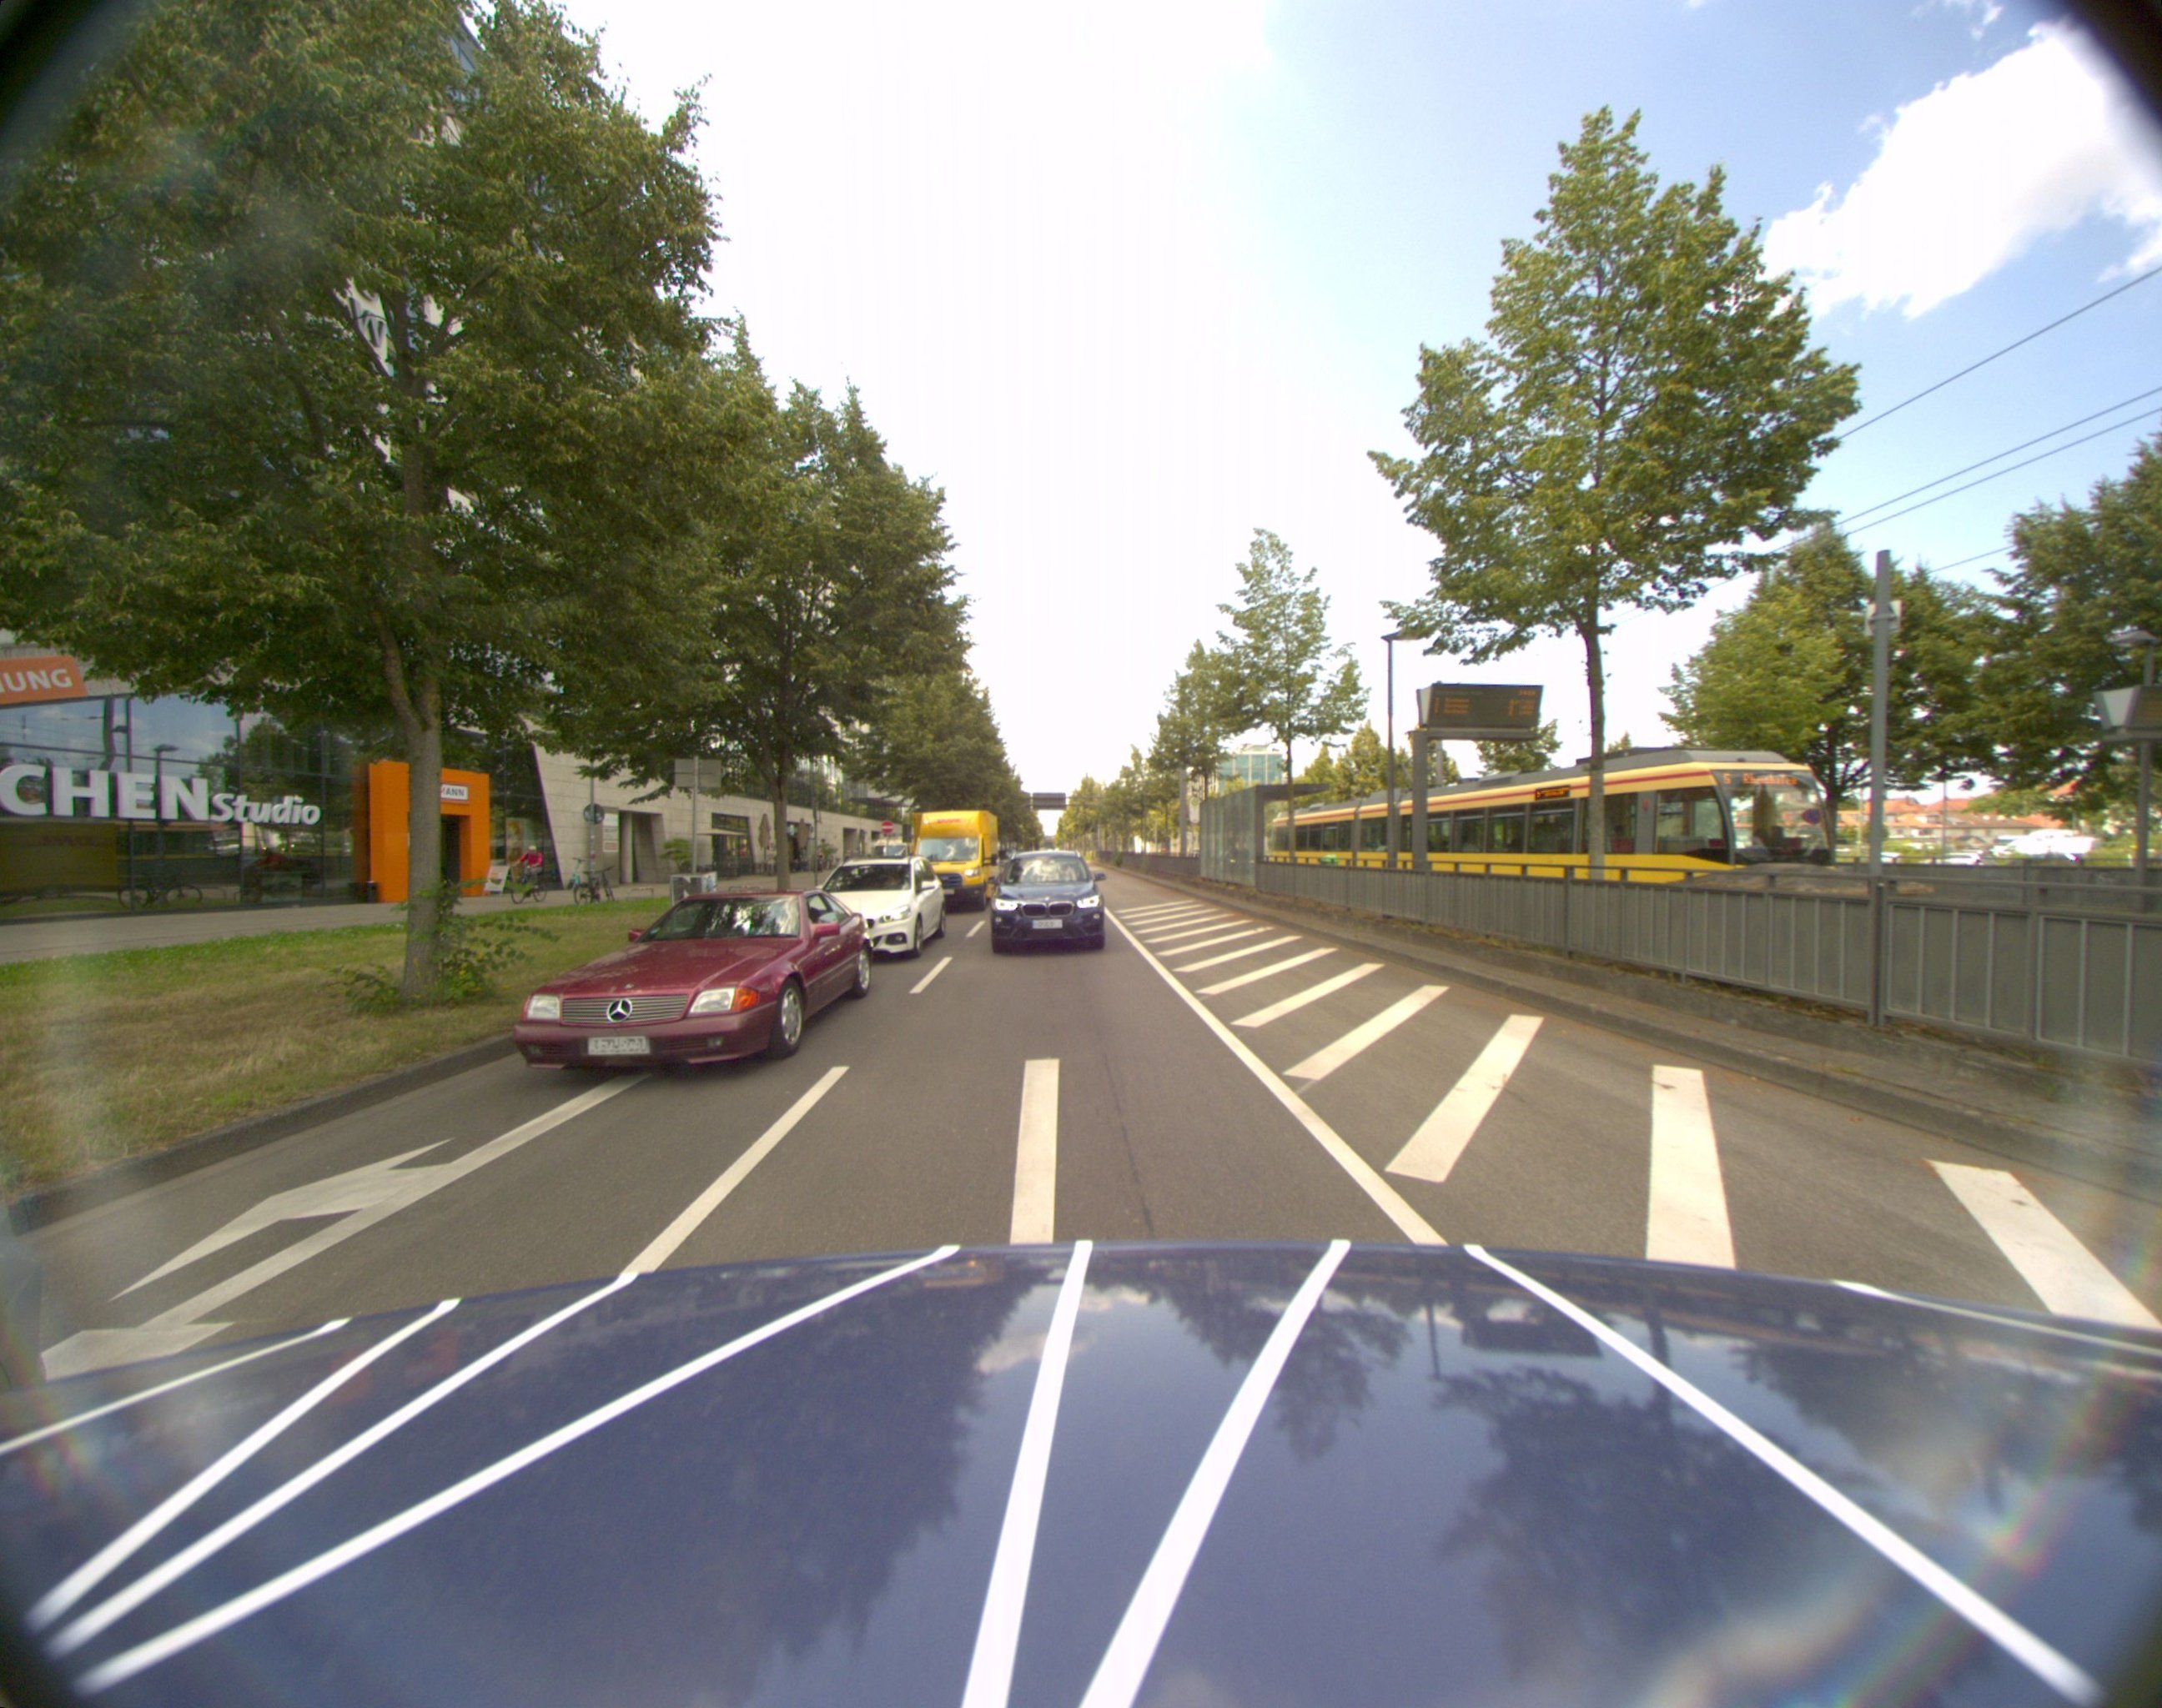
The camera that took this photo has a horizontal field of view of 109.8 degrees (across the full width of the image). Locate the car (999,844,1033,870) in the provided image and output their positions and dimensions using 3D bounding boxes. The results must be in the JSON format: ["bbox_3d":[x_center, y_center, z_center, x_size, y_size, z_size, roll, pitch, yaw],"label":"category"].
[{"bbox_3d":[-4.614,0.202,54.549,1.999,1.751,4.295,-2,1,-1],"label":"car"}]

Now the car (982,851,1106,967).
[{"bbox_3d":[-0.620,0.814,13.402,1.774,1.589,4.126,-2,1,-2],"label":"car"}]

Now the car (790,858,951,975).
[{"bbox_3d":[-3.386,0.904,13.000,1.674,1.589,4.127,-2,0,-2],"label":"car"}]

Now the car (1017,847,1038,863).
[{"bbox_3d":[-5.727,0.108,81.915,1.823,1.641,3.999,-2,1,1],"label":"car"}]

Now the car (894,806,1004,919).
[{"bbox_3d":[-3.784,0.178,23.302,2.284,2.837,7.253,-2,1,-2],"label":"car"}]

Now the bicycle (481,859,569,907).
[{"bbox_3d":[-16.214,0.808,22.261,0.812,1.237,2.410,3,1,-1],"label":"bicycle"}]

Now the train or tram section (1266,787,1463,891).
[{"bbox_3d":[11.639,-0.540,33.704,2.694,3.617,14.660,0,0,-3],"label":"train or tram section"}]

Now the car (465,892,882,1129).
[{"bbox_3d":[-3.151,1.108,6.943,1.674,1.254,4.091,-2,0,-2],"label":"car"}]

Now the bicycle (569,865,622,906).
[{"bbox_3d":[-13.453,0.852,21.100,0.516,1.082,1.748,0,0,-6],"label":"bicycle"}]

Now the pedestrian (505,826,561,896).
[{"bbox_3d":[-16.224,0.197,22.527,0.754,2.002,1.231,0,1,-3],"label":"pedestrian"}]

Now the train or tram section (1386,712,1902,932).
[{"bbox_3d":[12.268,-0.565,19.621,2.850,3.718,13.472,0,0,-3],"label":"train or tram section"}]

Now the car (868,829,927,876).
[{"bbox_3d":[-10.237,-0.098,42.996,2.162,2.380,6.274,-2,1,-4],"label":"car"}]
